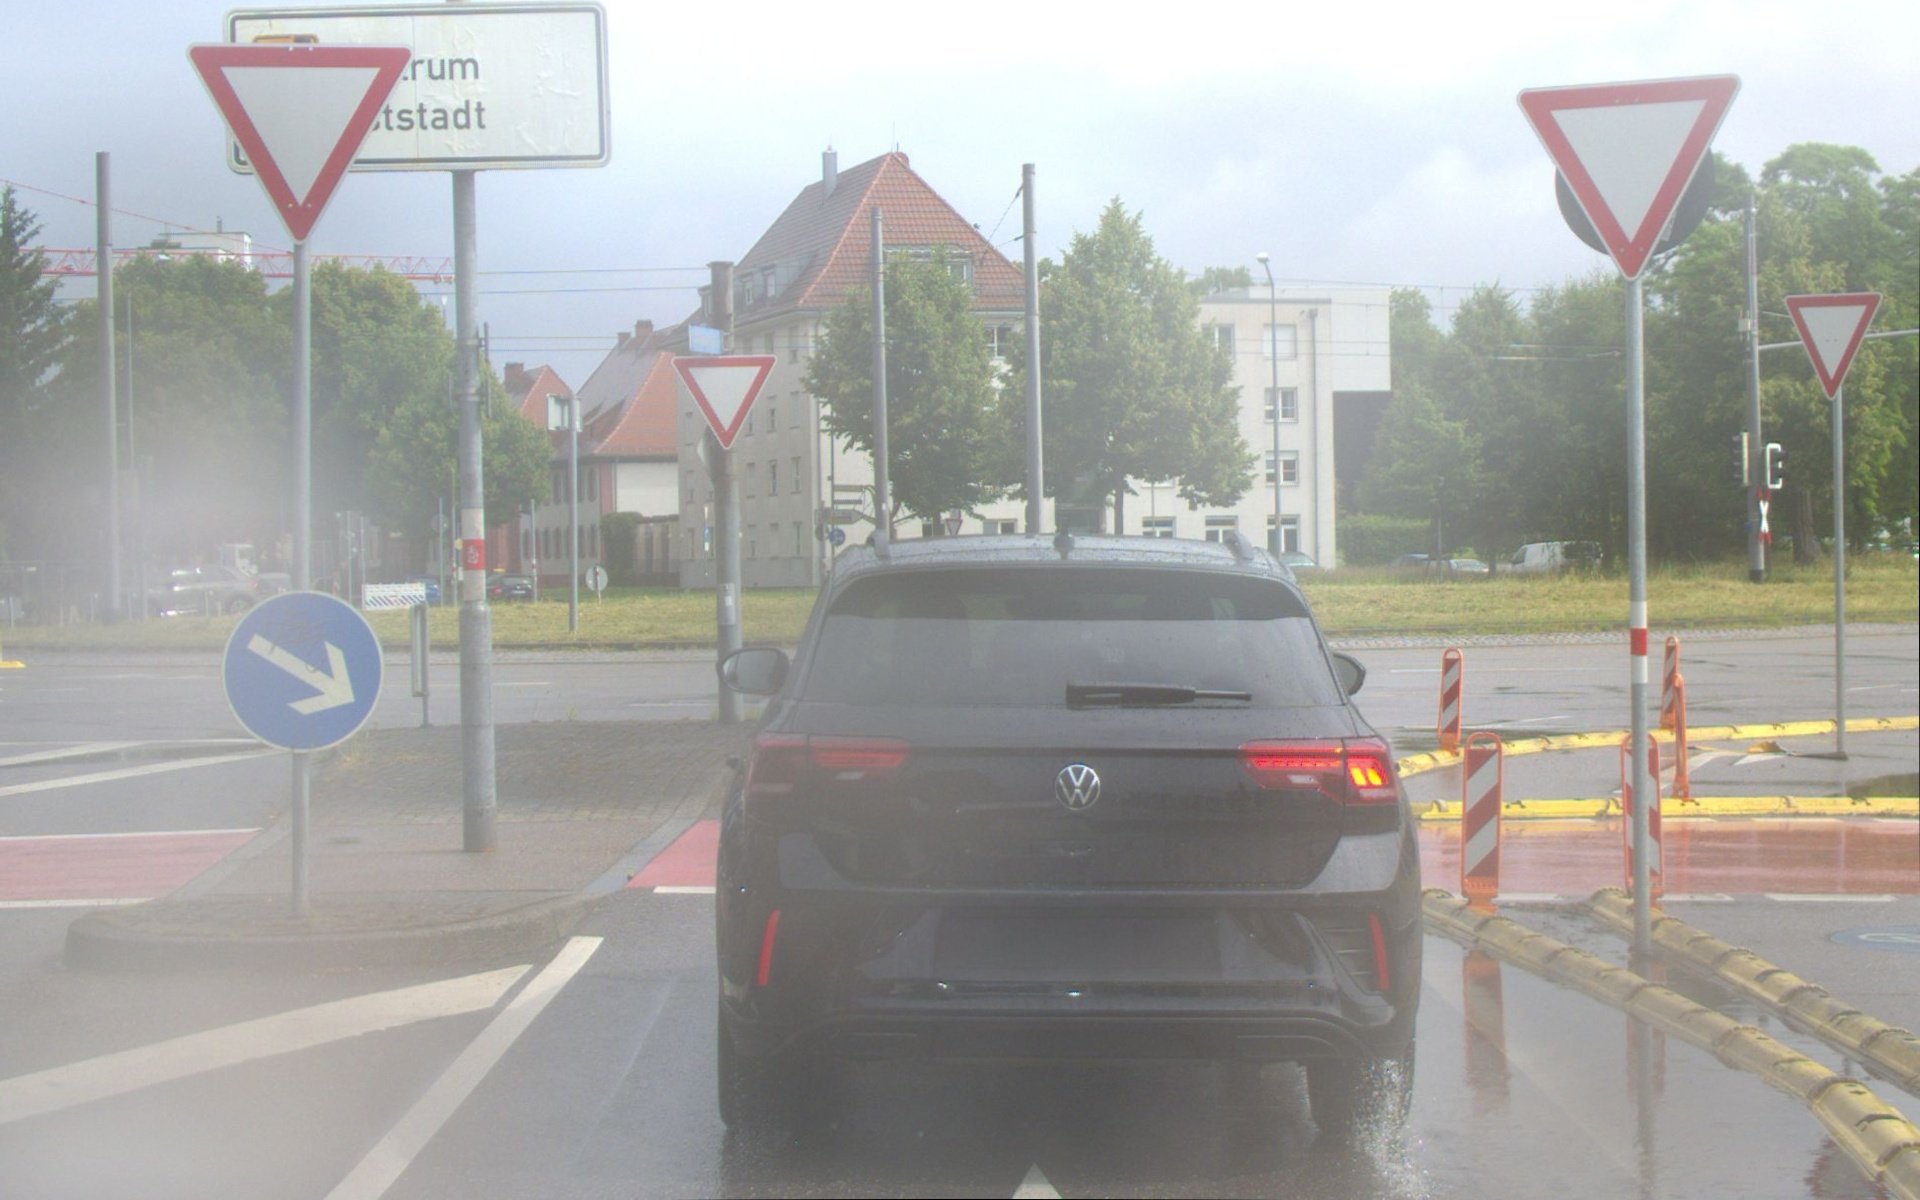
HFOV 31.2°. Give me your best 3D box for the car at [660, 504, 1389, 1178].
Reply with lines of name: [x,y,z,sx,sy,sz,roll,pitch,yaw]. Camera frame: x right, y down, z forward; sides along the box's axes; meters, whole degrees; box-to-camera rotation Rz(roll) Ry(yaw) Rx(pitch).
car: [0.073,0.544,9.883,1.708,1.568,3.683,0,1,-3]

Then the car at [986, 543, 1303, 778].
car: [1.373,0.365,24.140,1.736,1.509,3.602,0,1,11]
